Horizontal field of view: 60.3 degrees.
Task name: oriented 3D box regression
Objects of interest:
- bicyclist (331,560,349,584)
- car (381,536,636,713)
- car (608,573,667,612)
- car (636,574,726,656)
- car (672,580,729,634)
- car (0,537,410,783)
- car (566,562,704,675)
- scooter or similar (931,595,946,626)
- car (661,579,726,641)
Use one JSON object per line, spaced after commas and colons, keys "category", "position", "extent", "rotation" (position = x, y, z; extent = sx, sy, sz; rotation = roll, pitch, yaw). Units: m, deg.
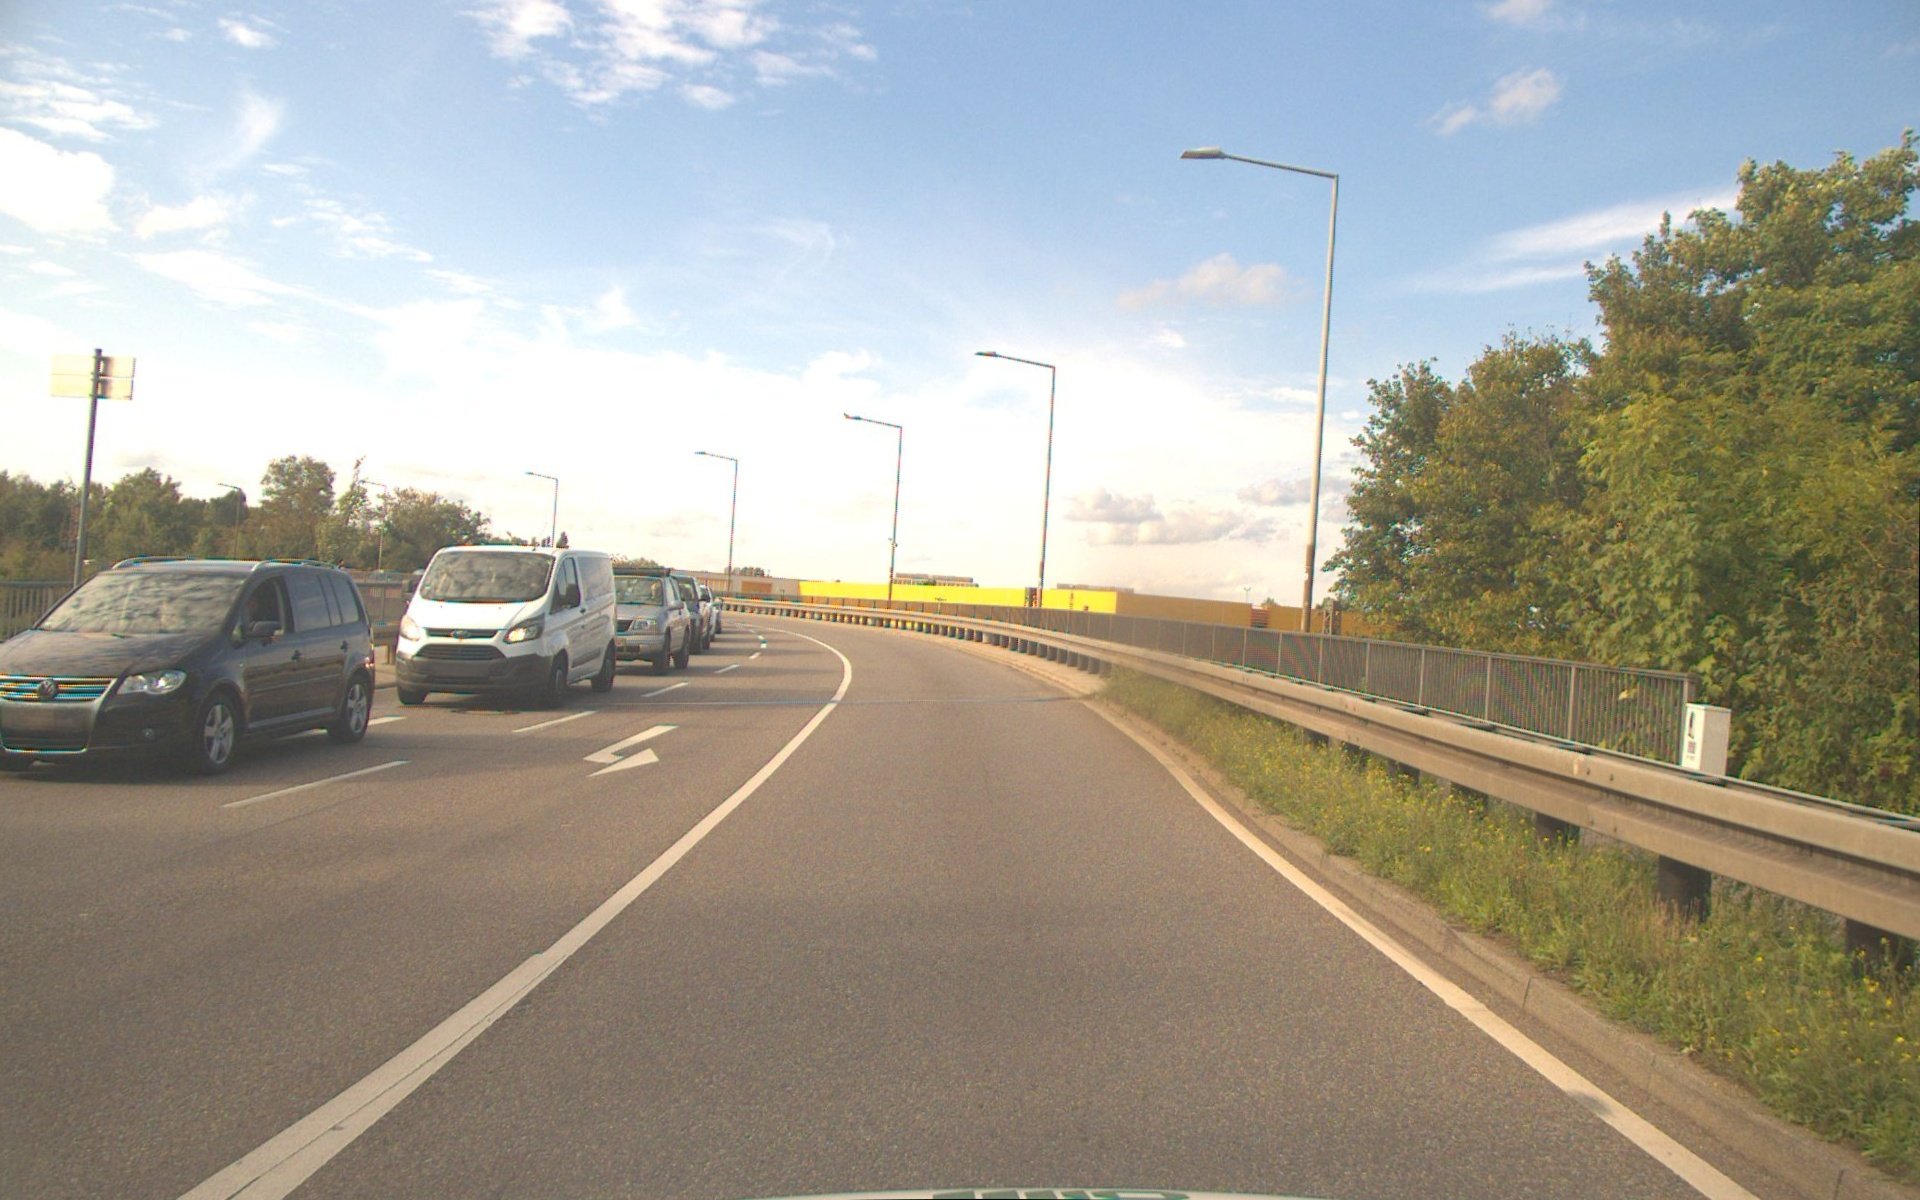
{"category": "bicyclist", "position": [-43.086, -1.940, 114.981], "extent": [0.763, 1.689, 1.102], "rotation": [2, 0, -45]}
{"category": "car", "position": [-5.704, 0.256, 21.599], "extent": [1.945, 1.998, 5.047], "rotation": [1, 1, -1]}
{"category": "car", "position": [-15.377, -0.381, 78.815], "extent": [1.753, 1.776, 3.803], "rotation": [1, 1, -28]}
{"category": "car", "position": [-6.193, 0.286, 36.931], "extent": [1.835, 1.695, 4.620], "rotation": [1, 1, -9]}
{"category": "car", "position": [-8.116, 0.204, 51.499], "extent": [1.652, 1.572, 3.914], "rotation": [1, 1, -10]}
{"category": "car", "position": [-6.268, 0.391, 13.797], "extent": [1.710, 1.683, 4.454], "rotation": [1, 1, 2]}
{"category": "car", "position": [-5.516, 0.279, 28.456], "extent": [1.738, 1.776, 3.835], "rotation": [1, 1, -3]}
{"category": "scooter or similar", "position": [-0.809, 0.390, 63.259], "extent": [0.261, 1.182, 1.184], "rotation": [1, 0, -15]}
{"category": "car", "position": [-7.268, 0.247, 45.003], "extent": [1.652, 1.572, 3.914], "rotation": [1, 1, -10]}
